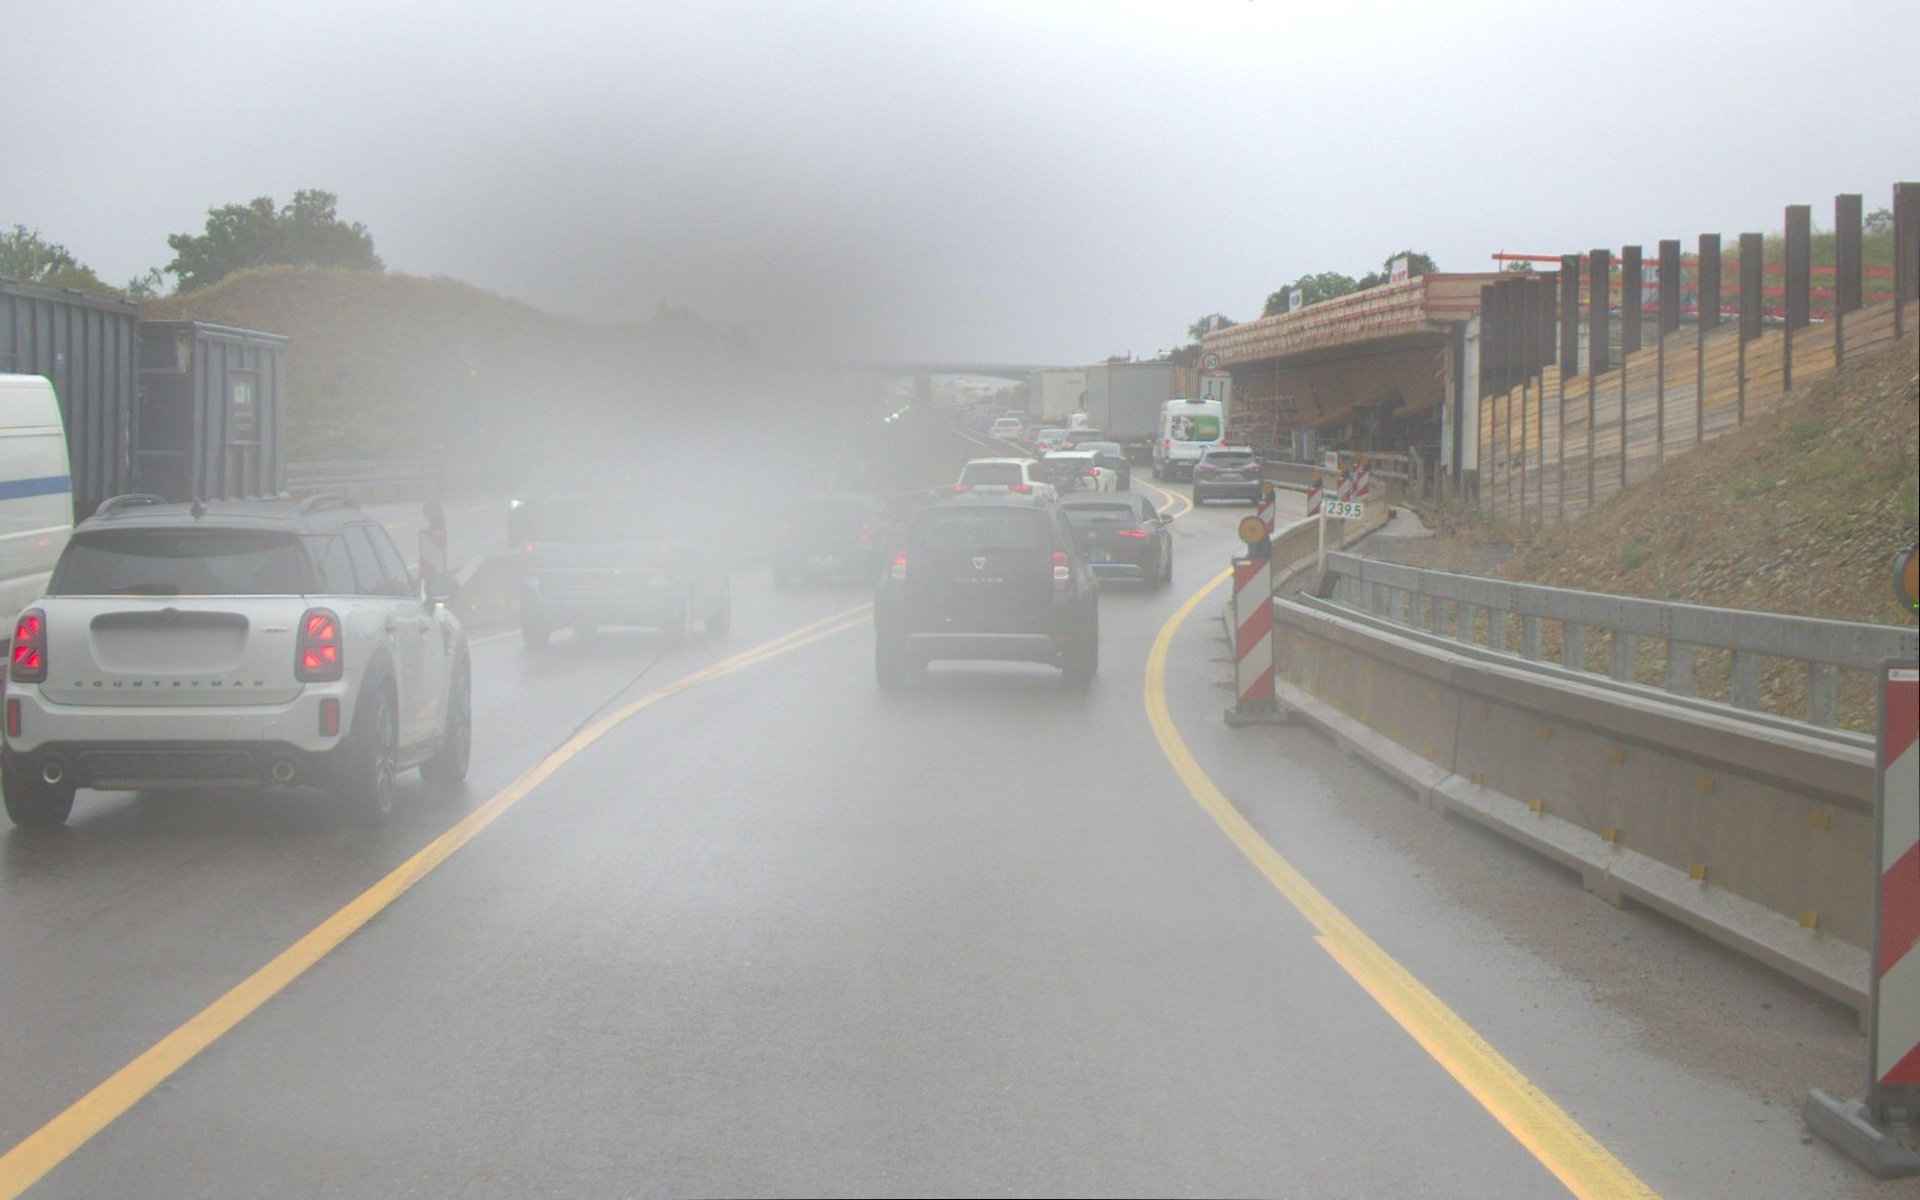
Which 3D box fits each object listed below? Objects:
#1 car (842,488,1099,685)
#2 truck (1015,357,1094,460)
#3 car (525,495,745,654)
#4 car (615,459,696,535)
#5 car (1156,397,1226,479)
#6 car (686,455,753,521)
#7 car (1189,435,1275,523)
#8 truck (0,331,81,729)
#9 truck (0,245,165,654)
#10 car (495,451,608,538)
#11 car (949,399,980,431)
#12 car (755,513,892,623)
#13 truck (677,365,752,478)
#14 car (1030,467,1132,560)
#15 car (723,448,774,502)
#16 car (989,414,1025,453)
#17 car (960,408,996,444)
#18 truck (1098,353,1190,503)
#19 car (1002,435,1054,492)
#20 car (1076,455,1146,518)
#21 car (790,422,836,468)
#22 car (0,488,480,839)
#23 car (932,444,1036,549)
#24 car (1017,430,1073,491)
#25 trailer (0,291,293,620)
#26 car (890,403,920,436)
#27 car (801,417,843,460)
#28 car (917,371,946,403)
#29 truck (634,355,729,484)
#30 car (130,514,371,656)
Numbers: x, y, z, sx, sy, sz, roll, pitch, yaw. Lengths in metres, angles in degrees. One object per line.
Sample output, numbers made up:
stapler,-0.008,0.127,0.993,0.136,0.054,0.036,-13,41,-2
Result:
car,0.073,-0.089,30.006,2.081,1.595,4.140,0,-1,0
truck,5.332,-10.872,196.619,3.803,5.026,12.922,0,-1,-2
car,-3.421,-0.240,36.866,1.993,1.595,4.140,0,-1,0
car,-7.992,-2.680,90.446,1.785,1.803,4.499,0,-1,-1
car,7.703,-5.394,115.134,1.993,2.476,4.982,0,-1,0
car,-7.286,-3.378,104.628,1.785,1.803,4.499,0,-1,-1
car,7.160,-3.171,90.919,1.993,2.155,4.140,0,-1,1
truck,-7.575,-0.470,22.739,2.147,2.704,6.017,0,1,-2
truck,-10.741,-1.580,36.826,2.641,3.956,9.215,0,2,-2
car,-8.356,-2.168,70.652,1.737,1.678,5.552,1,2,-1
car,0.288,-12.345,229.214,1.993,2.007,4.000,-1,1,-1
car,-2.086,-0.453,52.362,1.993,1.595,4.141,0,-1,-2
truck,-12.343,-8.954,173.509,3.141,5.399,8.524,1,1,0
car,3.006,-2.098,84.486,1.994,2.155,4.139,0,-1,9
car,-7.707,-4.539,125.441,1.623,1.803,3.637,0,-1,0
car,2.488,-8.907,184.315,1.849,1.887,4.021,0,-1,0
car,1.064,-10.215,202.266,1.993,2.007,4.000,-1,1,-1
truck,7.406,-6.745,137.055,3.102,5.408,9.440,0,-1,7
car,2.841,-5.723,144.657,1.993,2.155,4.140,0,-1,-1
car,4.604,-3.452,105.300,1.993,1.755,3.814,0,-1,0
car,-7.869,-8.310,184.785,2.238,2.350,4.877,1,1,0
car,-3.627,0.288,17.837,1.816,1.595,4.308,0,0,-2
car,0.460,-2.104,70.927,1.993,2.007,3.893,0,-1,-2
car,3.324,-5.396,133.327,1.994,2.155,4.140,0,-1,4
trailer,-11.108,-1.894,46.268,2.745,3.956,9.676,0,2,-2
car,-3.785,-12.412,236.013,1.993,2.007,4.000,0,-1,-2
car,-8.004,-9.377,199.701,2.217,2.362,4.664,1,1,0
car,-2.096,-15.506,250.058,1.993,2.007,4.000,0,-1,-2
truck,-11.167,-7.178,138.439,3.083,4.902,8.564,1,1,0
car,-7.782,-0.216,38.120,1.868,1.466,4.671,0,1,-2
